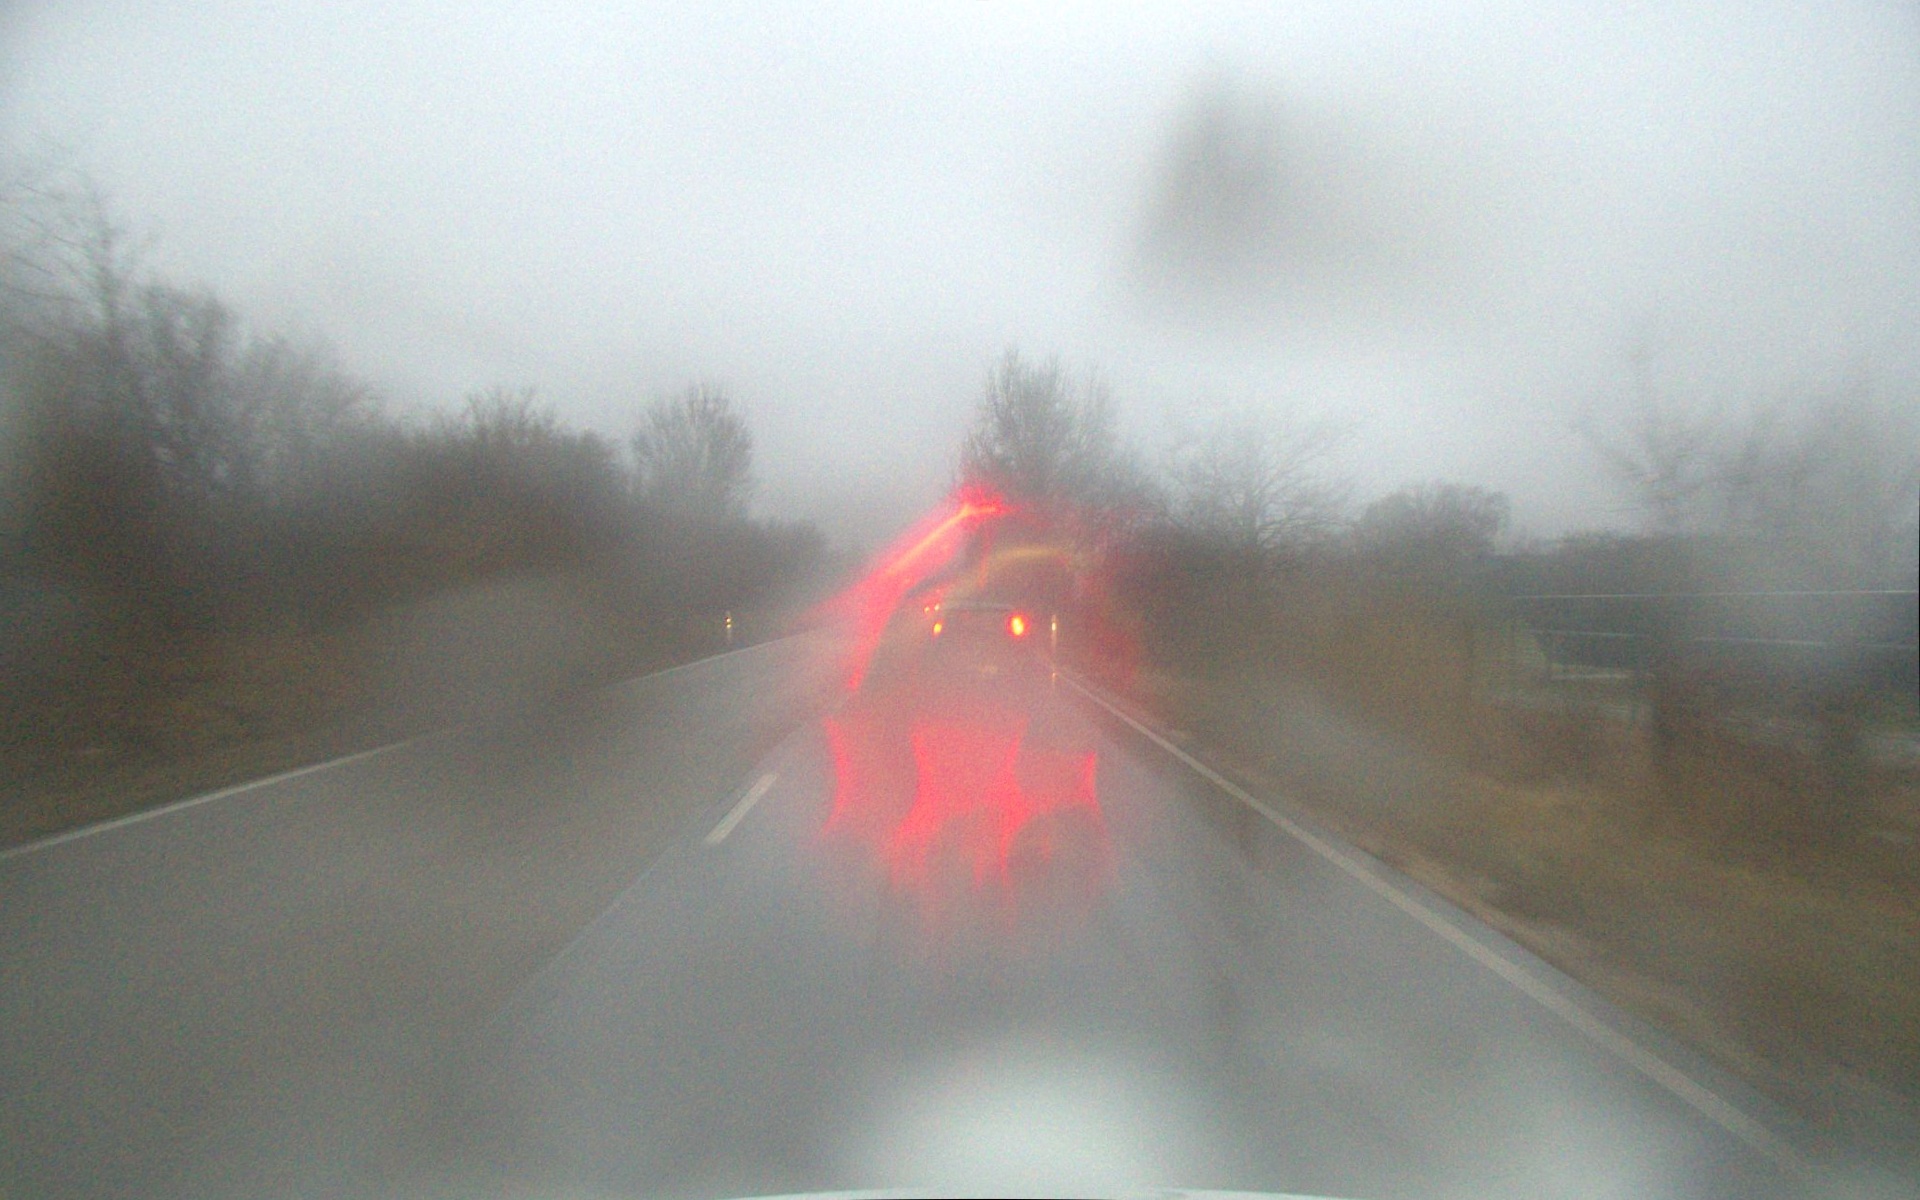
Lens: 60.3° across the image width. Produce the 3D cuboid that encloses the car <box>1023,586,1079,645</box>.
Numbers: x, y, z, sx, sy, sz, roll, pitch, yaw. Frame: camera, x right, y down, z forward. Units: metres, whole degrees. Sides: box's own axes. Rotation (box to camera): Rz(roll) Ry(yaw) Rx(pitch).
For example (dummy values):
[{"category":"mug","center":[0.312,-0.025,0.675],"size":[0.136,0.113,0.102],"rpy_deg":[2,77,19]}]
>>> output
[{"category":"car","center":[2.639,0.426,48.478],"size":[1.531,1.619,3.490],"rpy_deg":[1,0,2]}]

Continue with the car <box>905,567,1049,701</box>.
[{"category":"car","center":[0.263,0.457,24.935],"size":[1.952,1.816,4.000],"rpy_deg":[1,0,1]}]

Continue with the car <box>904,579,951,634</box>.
[{"category":"car","center":[-1.146,0.210,59.575],"size":[1.542,1.907,3.709],"rpy_deg":[1,0,1]}]
